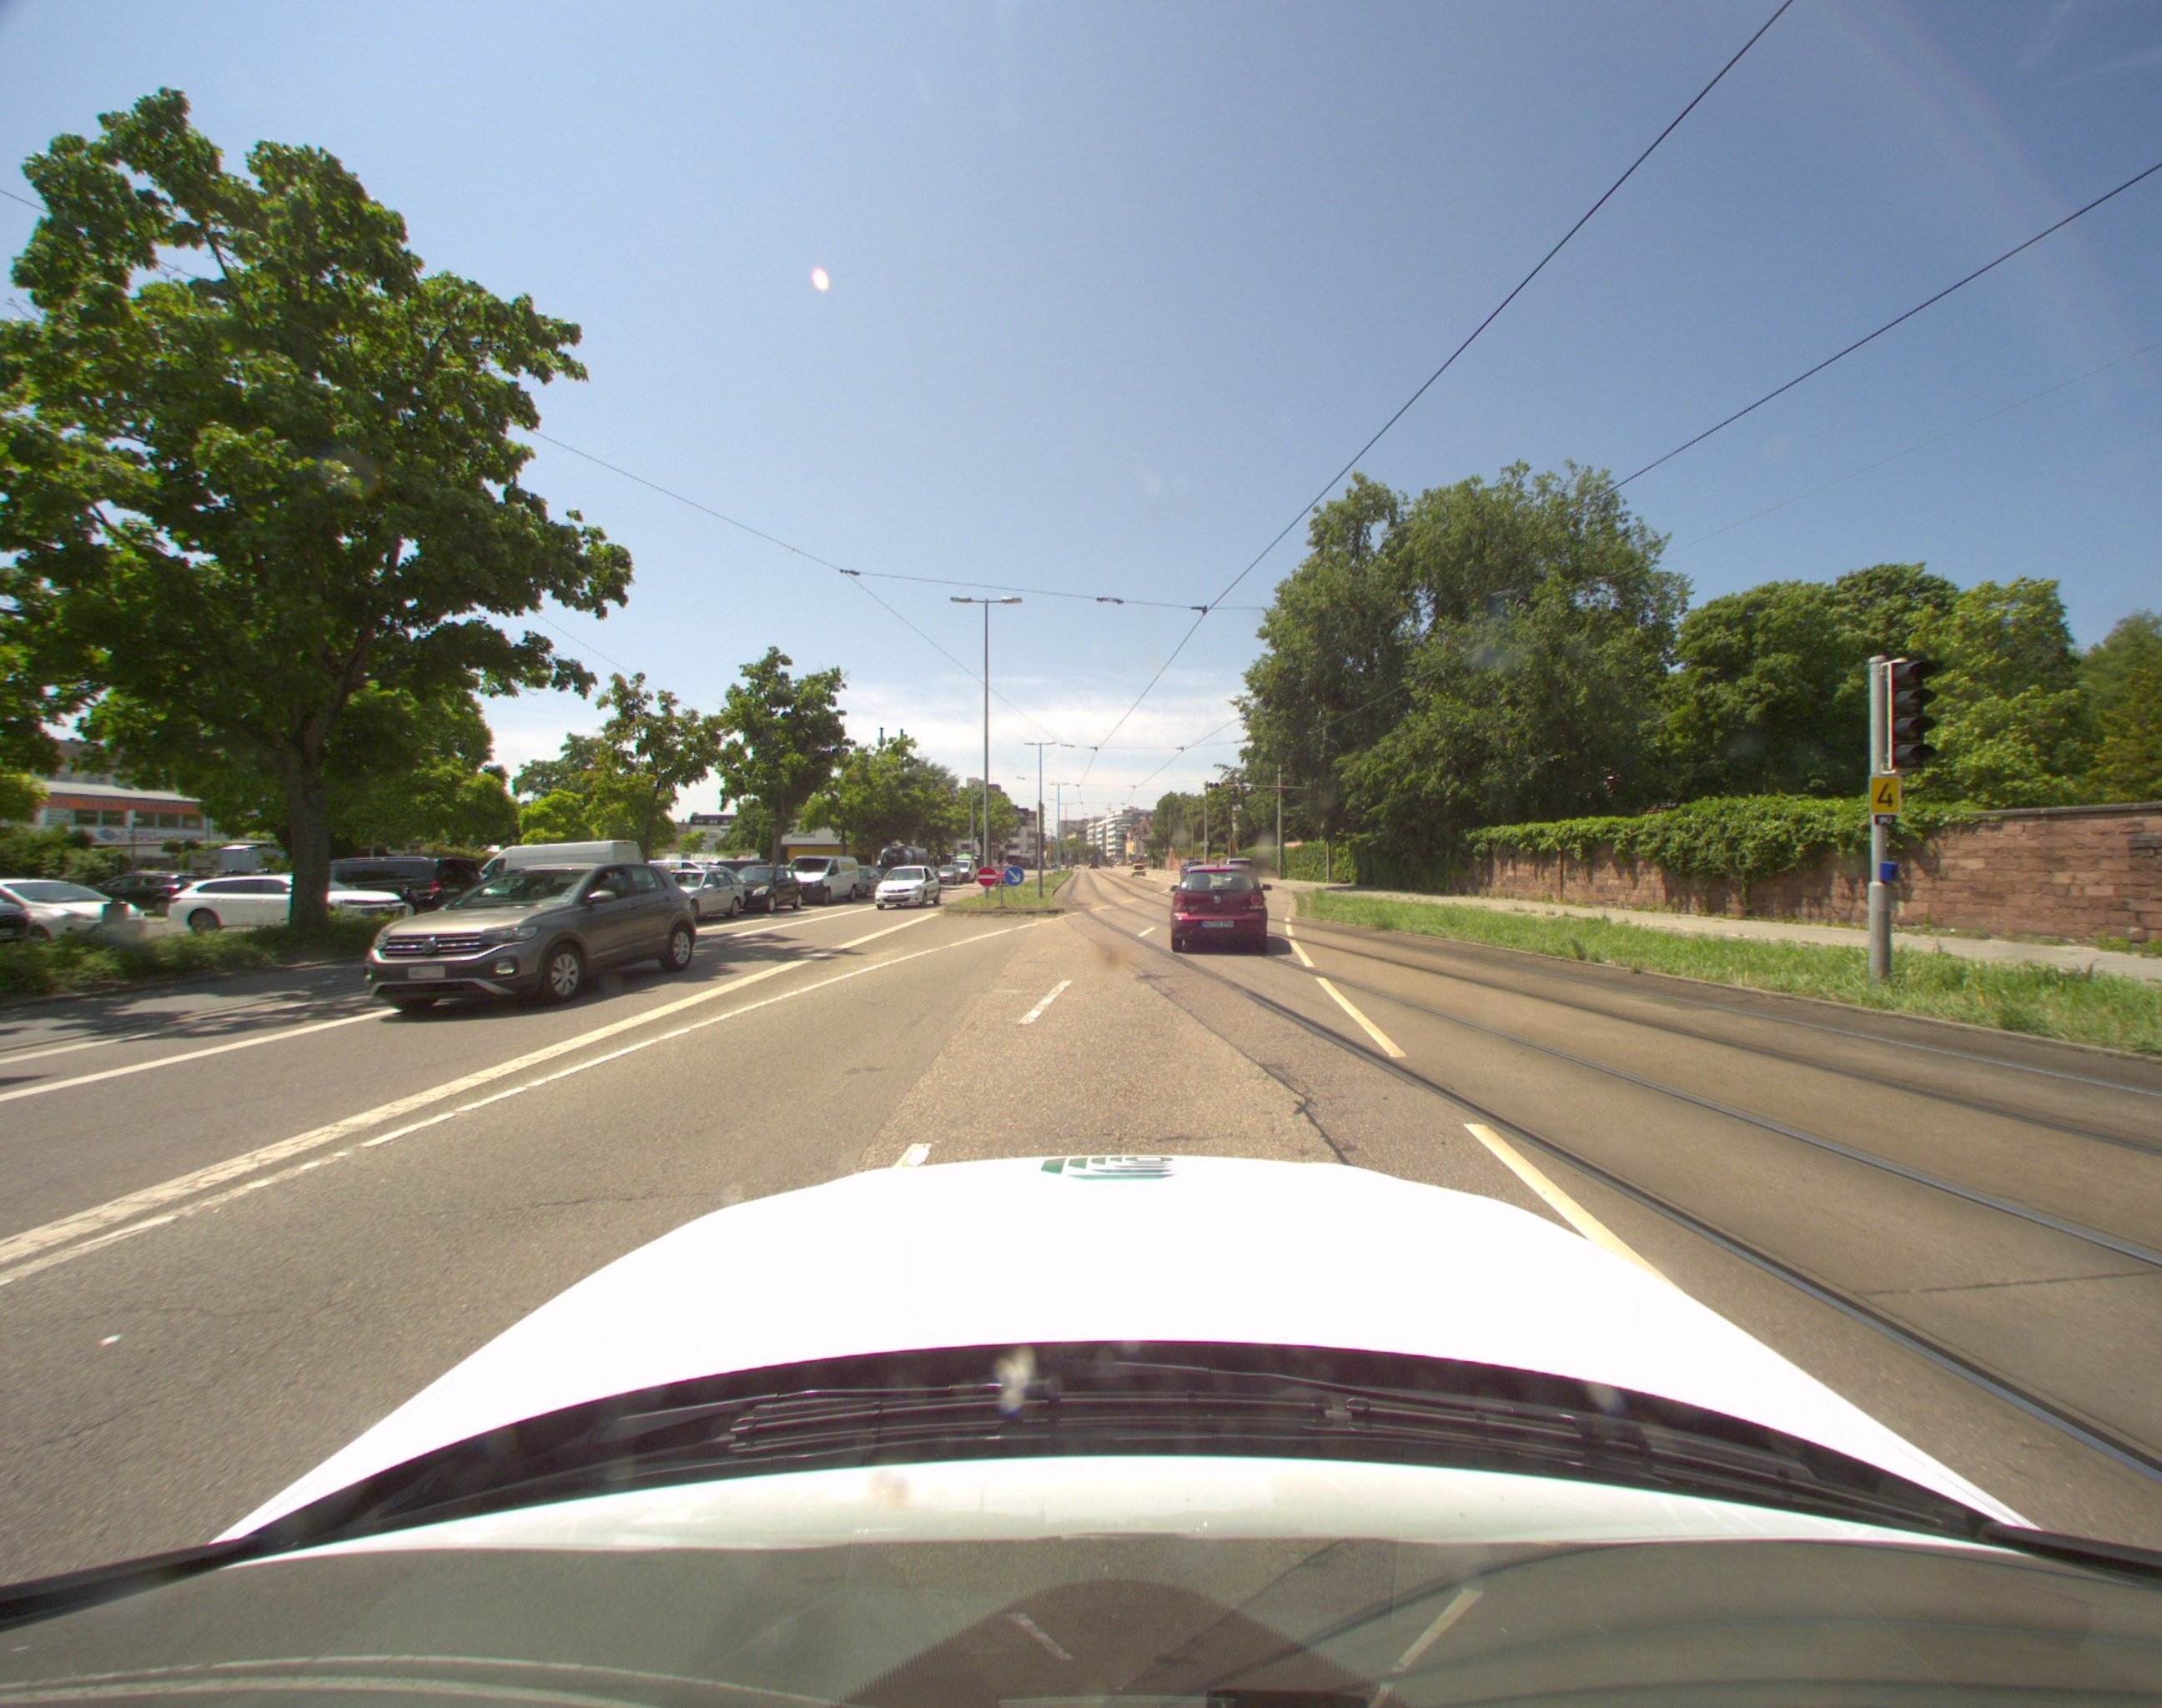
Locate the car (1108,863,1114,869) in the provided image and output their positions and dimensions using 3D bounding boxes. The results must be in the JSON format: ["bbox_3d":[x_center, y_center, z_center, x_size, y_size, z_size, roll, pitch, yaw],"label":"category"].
[{"bbox_3d":[6.940,2.823,190.251,1.349,1.252,2.972,1,-1,0],"label":"car"}]

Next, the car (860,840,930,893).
[{"bbox_3d":[-10.462,0.700,46.287,2.391,2.656,6.172,3,-1,0],"label":"car"}]

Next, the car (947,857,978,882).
[{"bbox_3d":[-10.048,1.288,69.354,1.869,1.965,5.164,-1,-1,0],"label":"car"}]

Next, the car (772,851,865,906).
[{"bbox_3d":[-10.346,0.916,32.508,1.855,1.937,4.808,3,-1,2],"label":"car"}]

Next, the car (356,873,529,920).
[{"bbox_3d":[-21.066,1.384,27.018,4.198,1.411,1.855,-1,-1,-2],"label":"car"}]

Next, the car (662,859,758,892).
[{"bbox_3d":[-21.505,1.239,47.328,4.705,1.813,1.795,-1,-1,-2],"label":"car"}]

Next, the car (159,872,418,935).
[{"bbox_3d":[-20.868,1.278,21.632,4.748,1.488,2.057,-1,-1,-2],"label":"car"}]

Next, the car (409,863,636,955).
[{"bbox_3d":[-10.516,0.968,15.713,1.665,1.546,3.729,1,-1,2],"label":"car"}]

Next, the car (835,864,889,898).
[{"bbox_3d":[-10.300,1.252,38.542,1.400,1.440,3.839,3,-1,0],"label":"car"}]

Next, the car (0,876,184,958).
[{"bbox_3d":[-21.298,1.246,16.520,4.106,1.508,1.933,-1,-1,2],"label":"car"}]

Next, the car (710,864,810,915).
[{"bbox_3d":[-10.489,1.121,26.907,1.608,1.484,3.786,3,-1,2],"label":"car"}]

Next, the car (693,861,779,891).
[{"bbox_3d":[-21.827,1.364,51.642,4.703,1.813,1.796,-1,-1,0],"label":"car"}]

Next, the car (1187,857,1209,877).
[{"bbox_3d":[10.061,1.088,70.427,1.765,1.631,4.007,1,-1,7],"label":"car"}]

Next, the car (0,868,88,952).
[{"bbox_3d":[-20.282,0.968,13.770,4.188,1.403,2.078,-1,-1,-5],"label":"car"}]

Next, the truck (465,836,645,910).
[{"bbox_3d":[-20.760,0.741,32.355,5.558,2.760,2.432,-1,-1,1],"label":"truck"}]

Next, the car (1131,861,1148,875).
[{"bbox_3d":[7.079,1.673,99.366,1.789,1.683,4.000,1,-1,1],"label":"car"}]

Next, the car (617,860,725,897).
[{"bbox_3d":[-21.478,1.262,42.803,4.705,1.813,1.795,-1,-1,-2],"label":"car"}]

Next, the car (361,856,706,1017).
[{"bbox_3d":[-6.379,0.853,10.071,1.732,1.575,3.712,-1,-1,0],"label":"car"}]

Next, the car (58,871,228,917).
[{"bbox_3d":[-32.732,1.380,28.493,4.114,1.519,1.509,0,-1,0],"label":"car"}]

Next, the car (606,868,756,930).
[{"bbox_3d":[-10.678,1.132,22.184,1.713,1.427,4.769,1,-1,0],"label":"car"}]

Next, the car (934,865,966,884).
[{"bbox_3d":[-10.044,1.542,62.538,1.625,1.420,3.869,-1,-1,2],"label":"car"}]

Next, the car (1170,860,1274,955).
[{"bbox_3d":[2.615,0.883,14.986,1.599,1.498,4.012,-2,-1,11],"label":"car"}]

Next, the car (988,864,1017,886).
[{"bbox_3d":[-5.580,1.481,58.239,1.652,1.410,3.605,-2,-1,0],"label":"car"}]

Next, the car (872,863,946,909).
[{"bbox_3d":[-5.832,1.060,28.003,1.643,1.376,3.810,-3,-1,0],"label":"car"}]

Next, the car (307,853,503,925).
[{"bbox_3d":[-20.033,1.014,24.271,4.198,1.995,1.855,-1,-1,-2],"label":"car"}]

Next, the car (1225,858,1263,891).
[{"bbox_3d":[8.701,1.069,43.362,1.782,1.683,4.015,1,-1,14],"label":"car"}]
